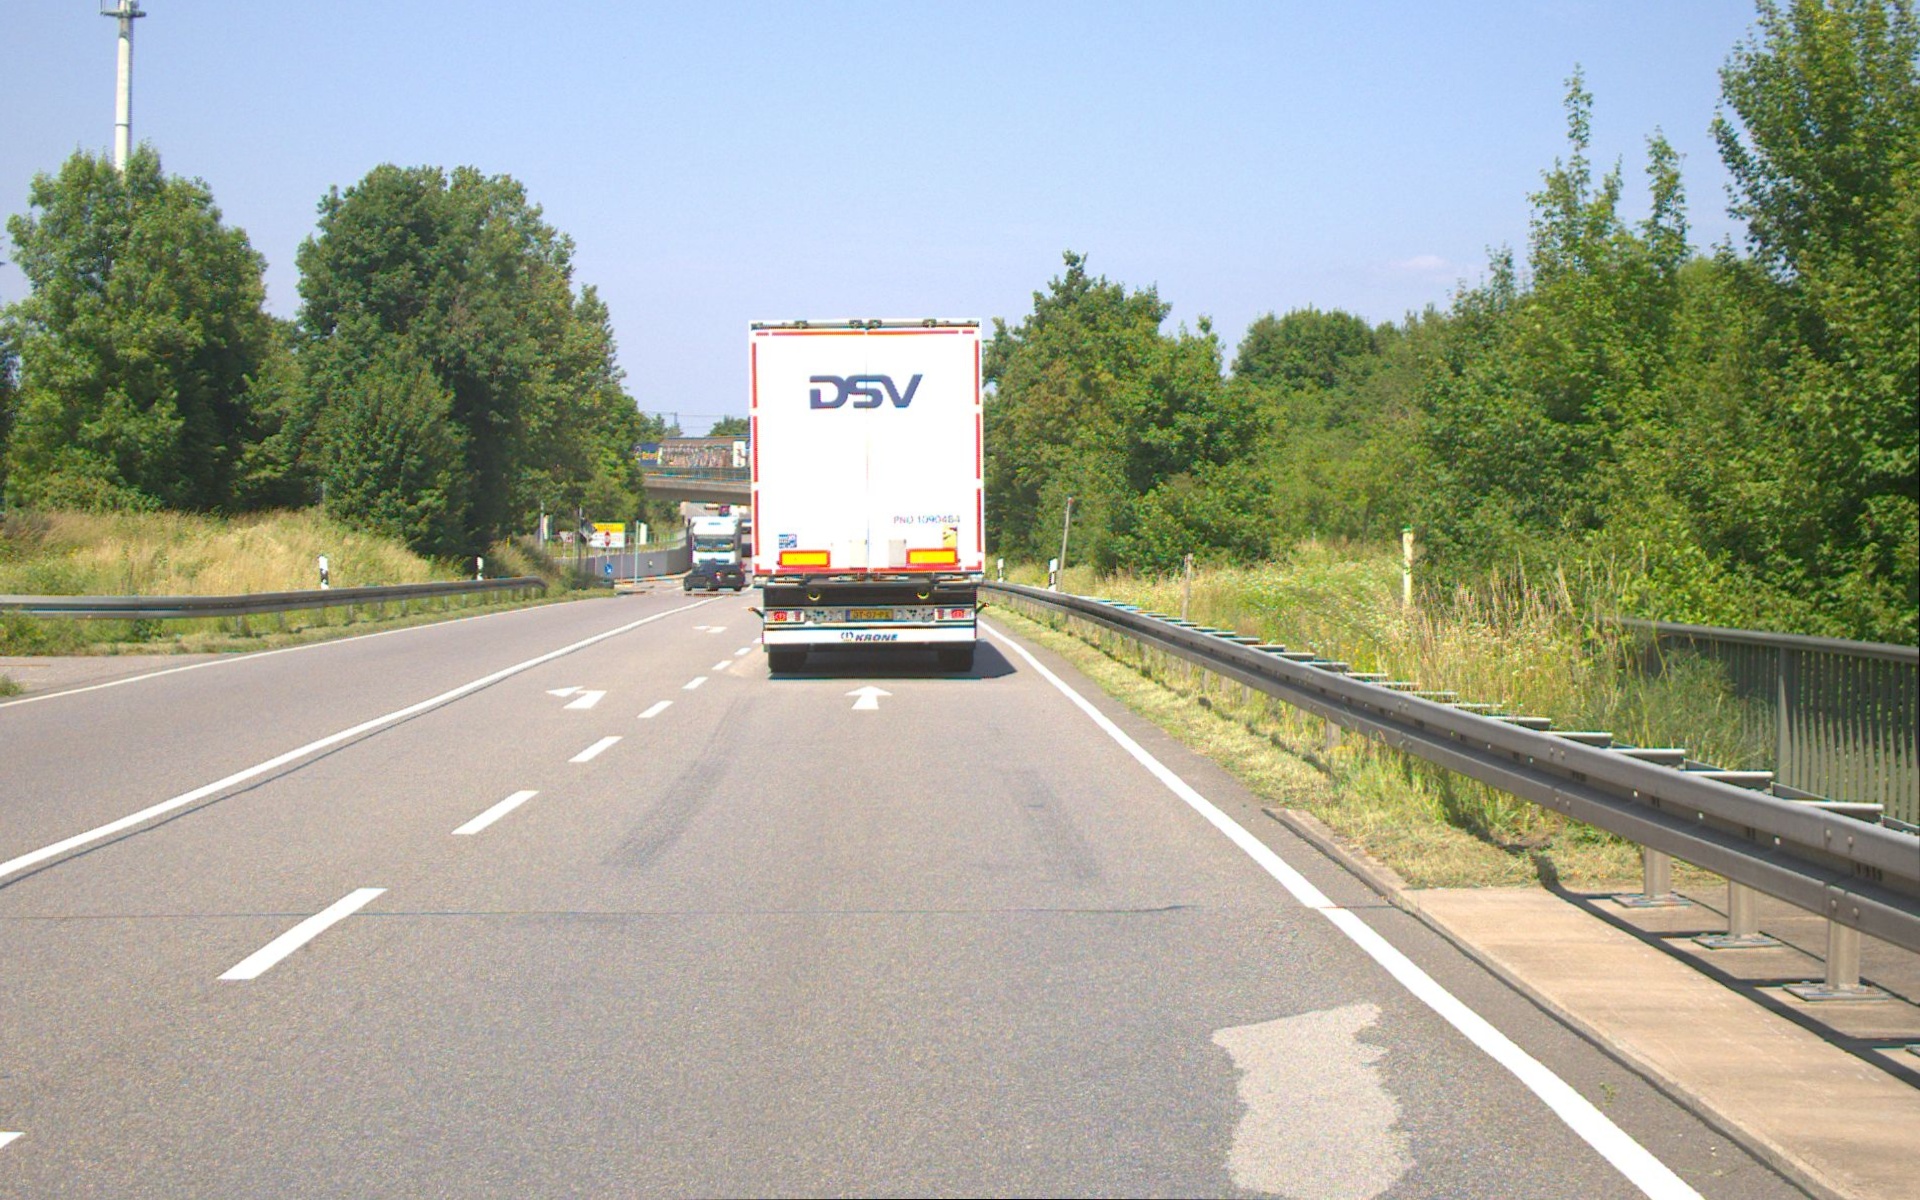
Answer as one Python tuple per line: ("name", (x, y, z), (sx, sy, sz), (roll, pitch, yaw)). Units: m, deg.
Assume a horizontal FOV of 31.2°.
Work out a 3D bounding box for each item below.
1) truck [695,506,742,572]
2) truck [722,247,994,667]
("truck", (-14.013, -3.550, 200.083), (2.353, 3.737, 12.627), (0, 1, -2))
("truck", (-1.183, -1.601, 42.209), (2.950, 4.553, 9.863), (0, 1, -1))
